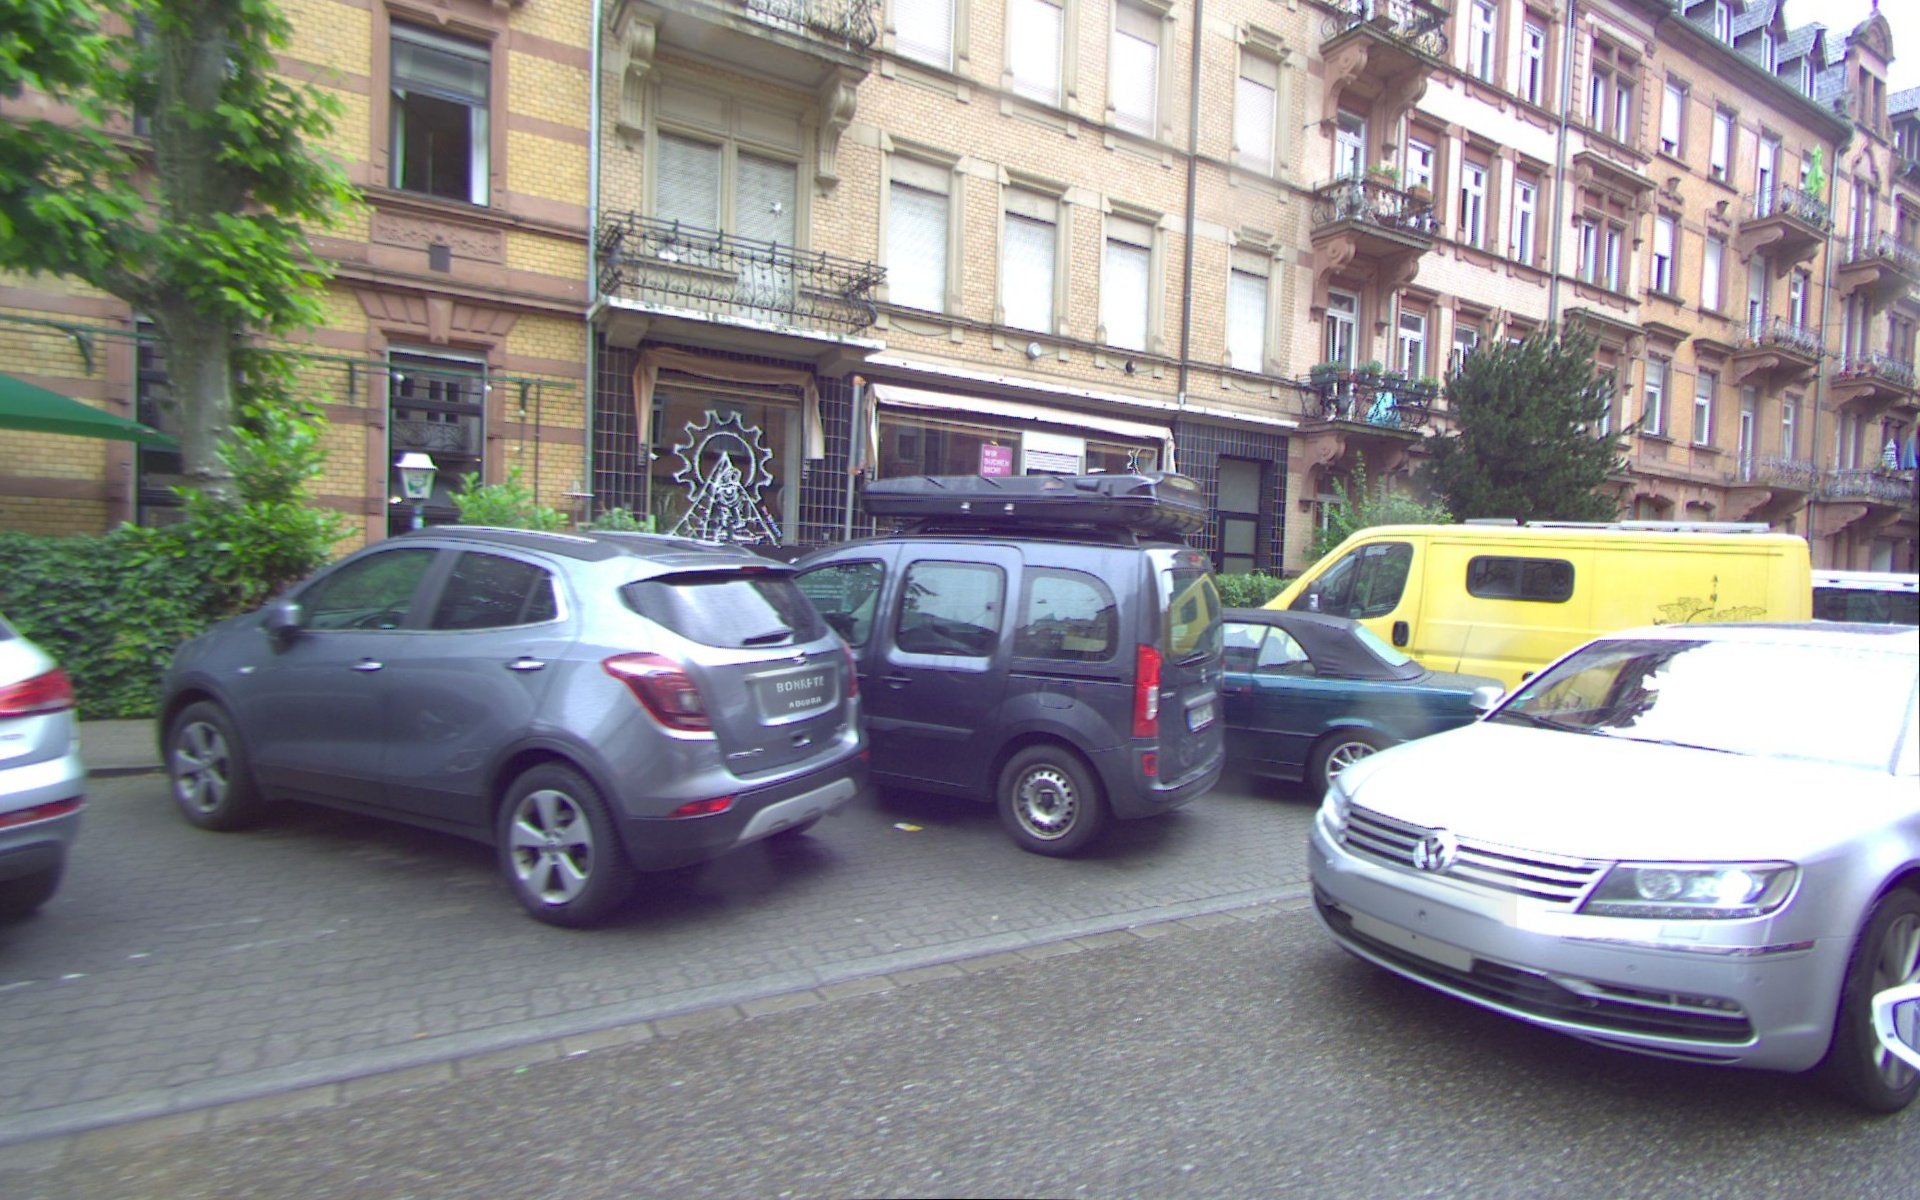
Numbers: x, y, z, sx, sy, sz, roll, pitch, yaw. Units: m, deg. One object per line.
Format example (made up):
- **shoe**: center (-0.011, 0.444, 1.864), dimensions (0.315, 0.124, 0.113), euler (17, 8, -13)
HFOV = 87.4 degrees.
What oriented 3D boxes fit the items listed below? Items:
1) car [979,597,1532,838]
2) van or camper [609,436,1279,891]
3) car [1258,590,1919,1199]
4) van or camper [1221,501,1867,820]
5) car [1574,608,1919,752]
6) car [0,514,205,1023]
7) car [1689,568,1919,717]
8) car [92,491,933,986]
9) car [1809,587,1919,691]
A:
- **car**: center (2.310, 0.744, 8.087), dimensions (3.927, 1.515, 1.824), euler (0, 0, 28)
- **van or camper**: center (-0.152, 0.187, 6.863), dimensions (4.010, 2.269, 1.934), euler (5, 2, 28)
- **car**: center (3.640, 0.772, 4.417), dimensions (4.526, 1.514, 1.787), euler (1, 2, -29)
- **van or camper**: center (5.138, 0.326, 9.578), dimensions (4.640, 2.299, 2.181), euler (4, 4, 28)
- **car**: center (10.114, 0.922, 12.702), dimensions (3.930, 1.455, 1.780), euler (3, 1, 32)
- **car**: center (-5.158, 0.419, 3.892), dimensions (4.060, 1.684, 1.800), euler (5, 3, 24)
- **car**: center (14.583, 0.671, 15.586), dimensions (5.167, 2.106, 1.864), euler (3, 1, 36)
- **car**: center (-2.415, 0.440, 5.388), dimensions (4.060, 1.684, 1.800), euler (5, 2, 24)
- **car**: center (19.093, 0.842, 18.553), dimensions (2.516, 1.809, 4.555), euler (1, 3, -30)
